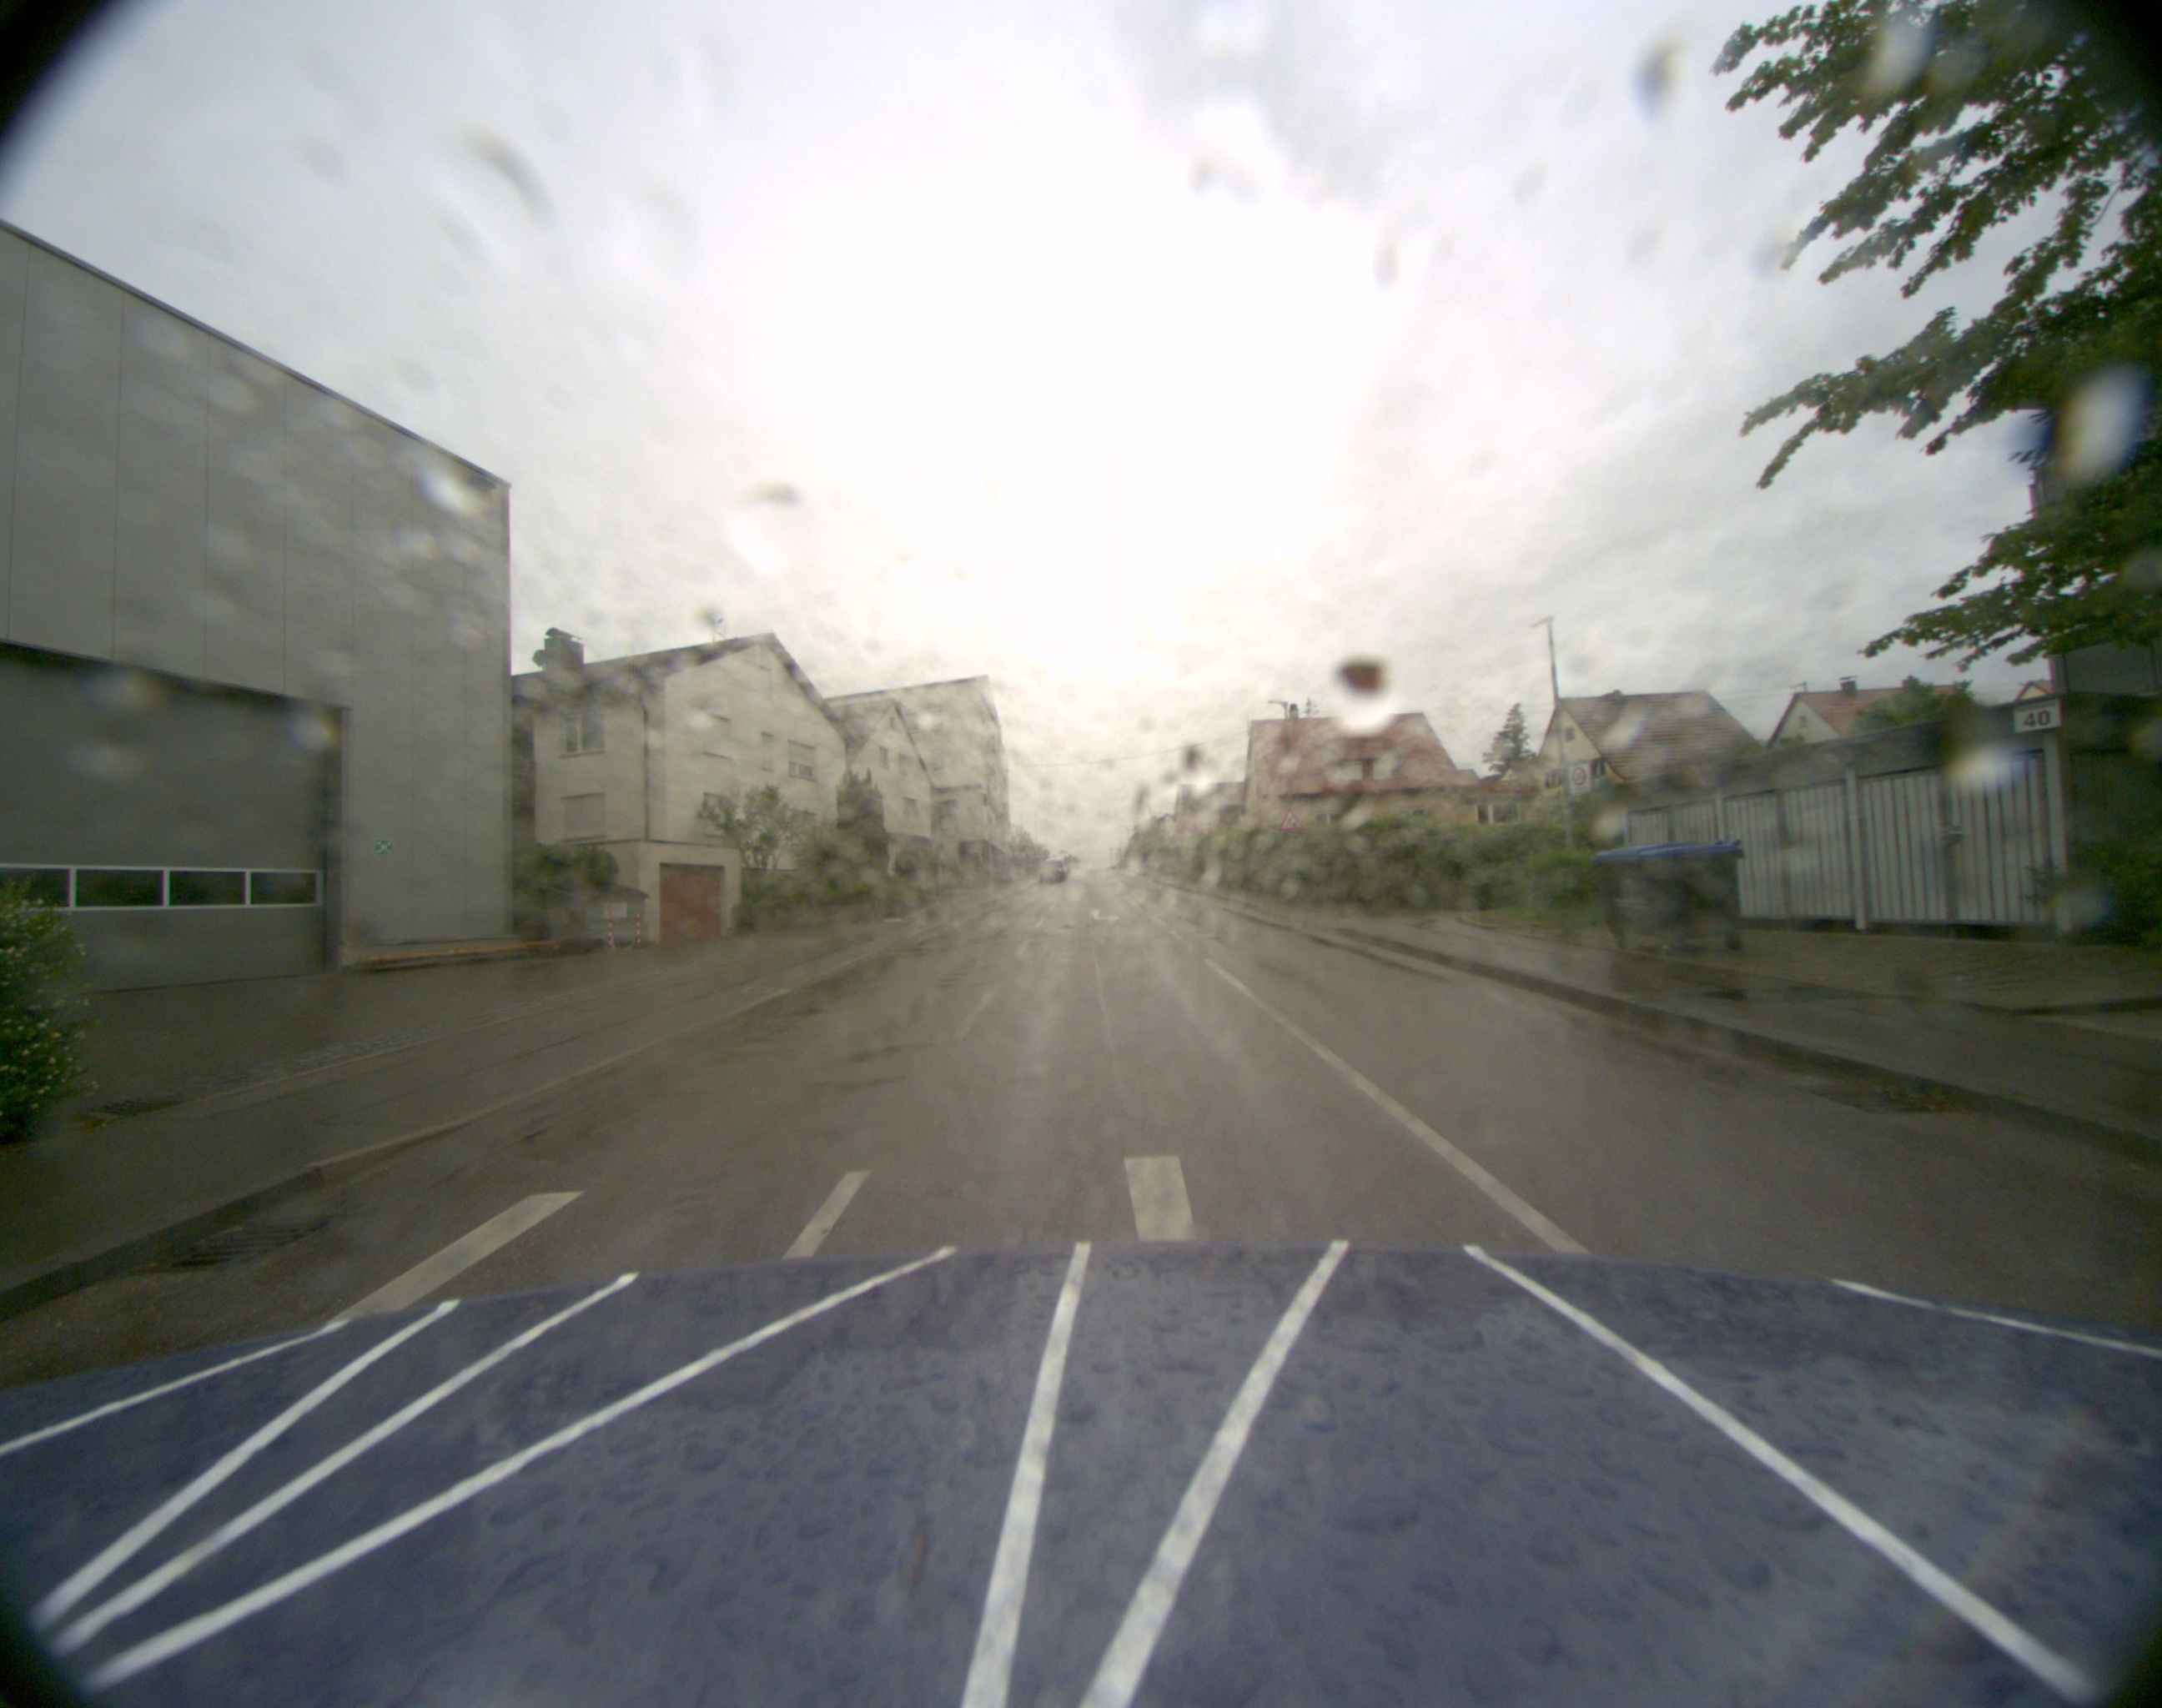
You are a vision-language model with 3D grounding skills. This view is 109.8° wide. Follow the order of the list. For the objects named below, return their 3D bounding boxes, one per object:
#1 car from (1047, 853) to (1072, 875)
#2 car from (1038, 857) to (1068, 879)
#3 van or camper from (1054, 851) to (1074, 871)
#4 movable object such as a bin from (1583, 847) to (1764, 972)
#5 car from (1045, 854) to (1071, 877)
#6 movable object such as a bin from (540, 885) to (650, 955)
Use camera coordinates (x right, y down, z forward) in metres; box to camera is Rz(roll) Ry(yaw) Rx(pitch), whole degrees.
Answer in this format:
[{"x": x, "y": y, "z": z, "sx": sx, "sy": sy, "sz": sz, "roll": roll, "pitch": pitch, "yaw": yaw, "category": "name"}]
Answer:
[{"x": -2.016, "y": 0.893, "z": 71.506, "sx": 1.998, "sy": 1.923, "sz": 4.976, "roll": -3, "pitch": 0, "yaw": 1, "category": "car"}, {"x": -2.181, "y": 1.082, "z": 60.501, "sx": 1.998, "sy": 1.635, "sz": 4.958, "roll": -3, "pitch": 0, "yaw": 1, "category": "car"}, {"x": -1.851, "y": 0.826, "z": 85.035, "sx": 1.998, "sy": 2.101, "sz": 5.203, "roll": -2, "pitch": 0, "yaw": 0, "category": "van or camper"}, {"x": 7.128, "y": 0.631, "z": 9.235, "sx": 1.074, "sy": 1.339, "sz": 1.319, "roll": -4, "pitch": 0, "yaw": -1, "category": "movable object such as a bin"}, {"x": -1.962, "y": 0.995, "z": 65.727, "sx": 1.883, "sy": 1.823, "sz": 4.489, "roll": -3, "pitch": 0, "yaw": 1, "category": "car"}, {"x": -11.510, "y": 1.526, "z": 18.082, "sx": 1.263, "sy": 1.509, "sz": 1.781, "roll": -1, "pitch": 0, "yaw": 16, "category": "movable object such as a bin"}]
